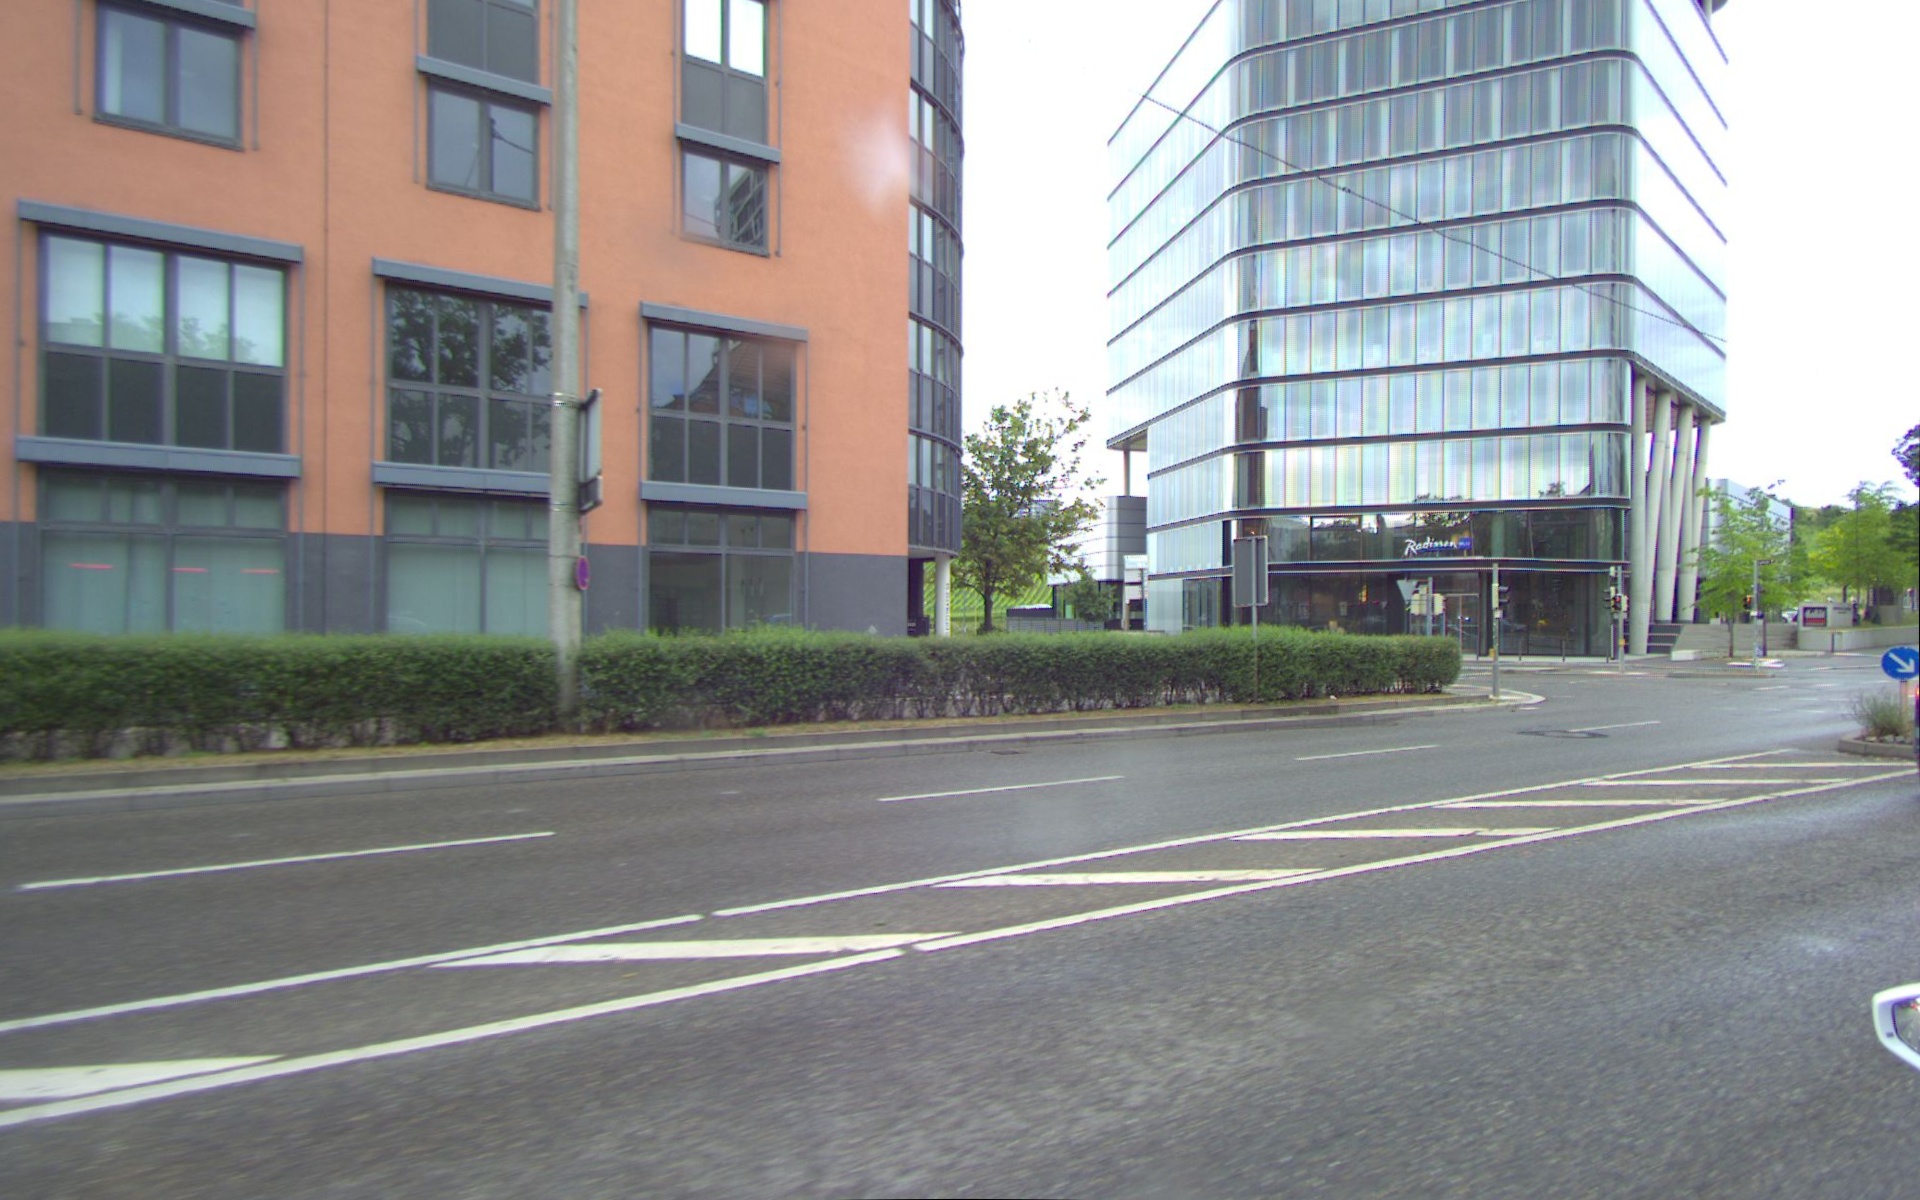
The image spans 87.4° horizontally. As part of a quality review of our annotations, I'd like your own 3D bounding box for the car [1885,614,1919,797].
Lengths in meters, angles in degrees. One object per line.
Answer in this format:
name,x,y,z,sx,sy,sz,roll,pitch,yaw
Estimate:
car,10.621,0.952,9.329,4.146,1.617,1.765,1,-2,-29
